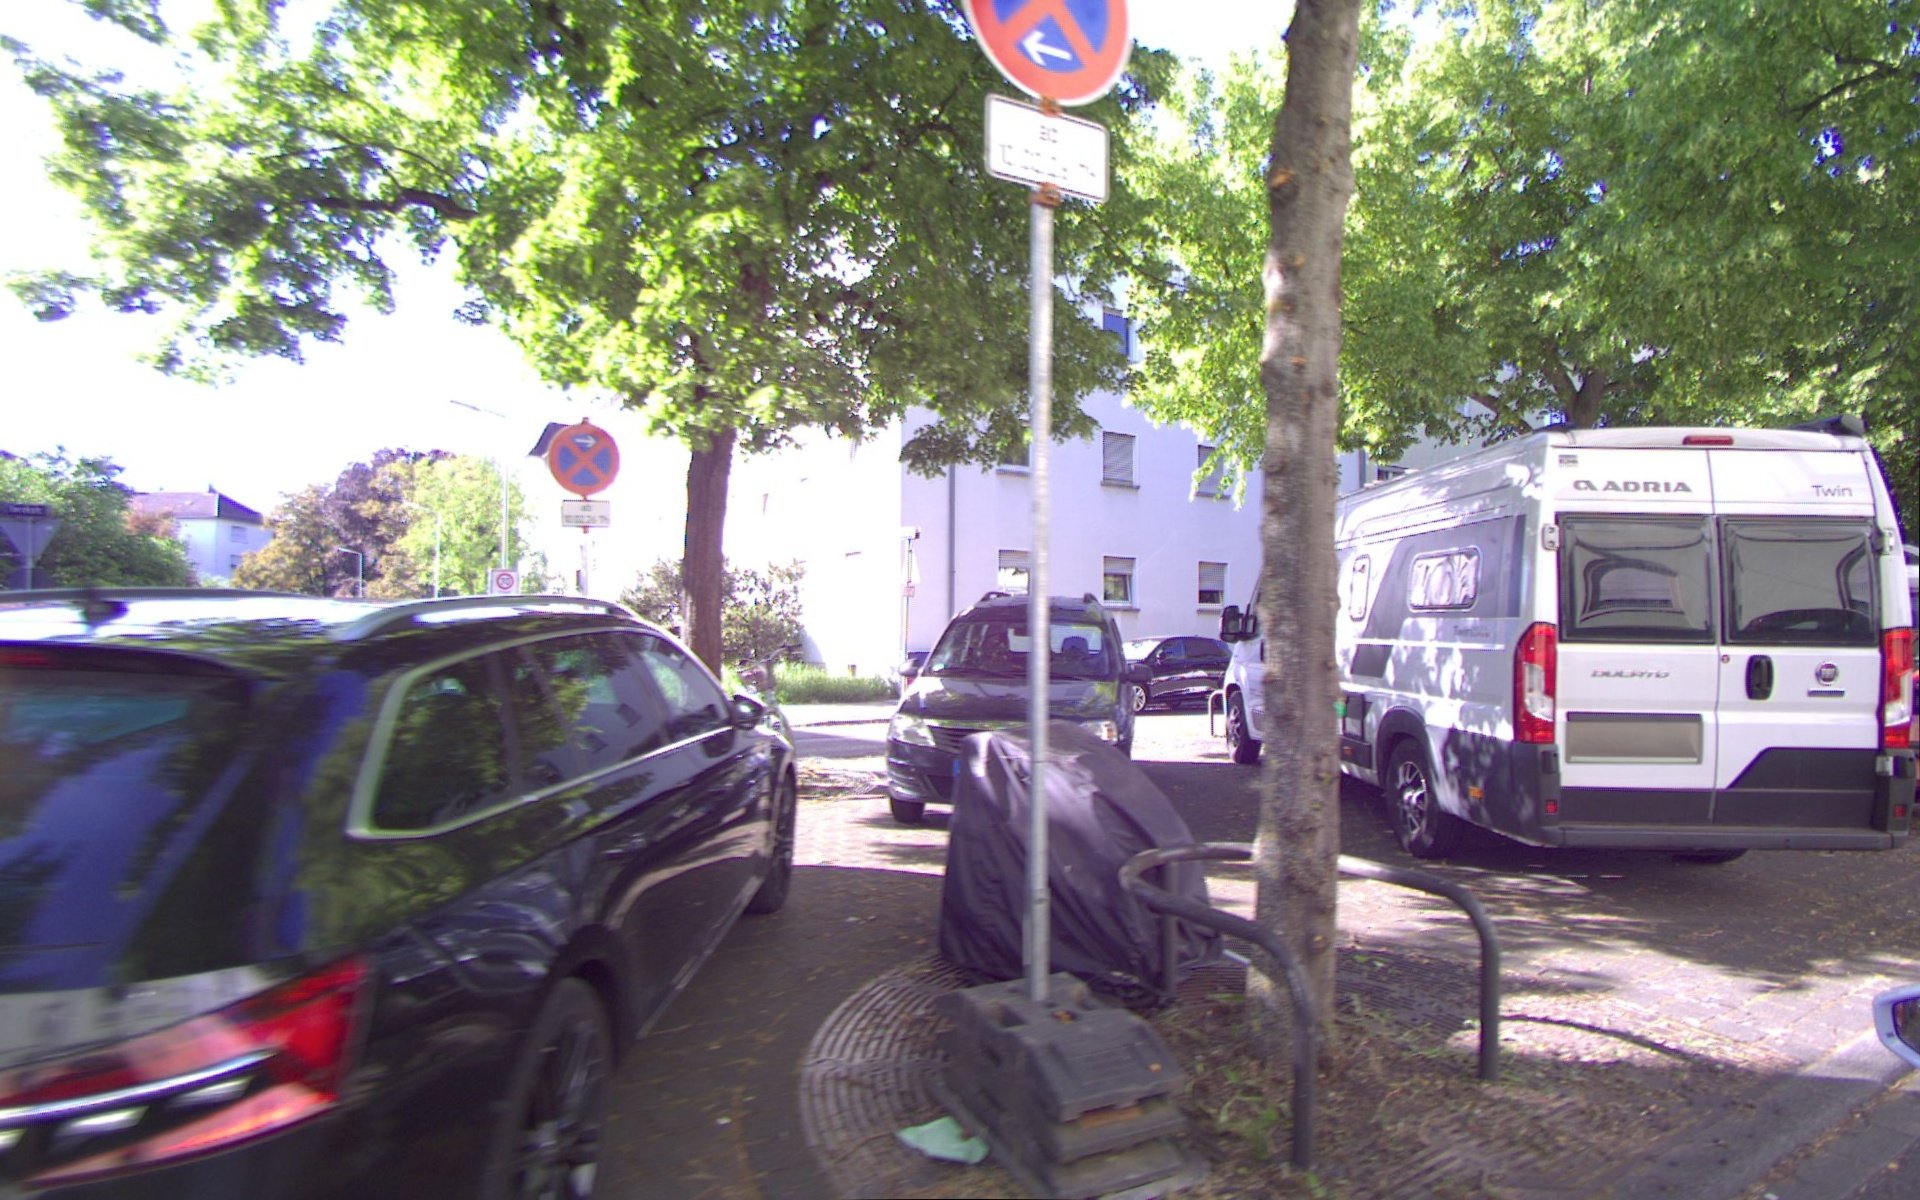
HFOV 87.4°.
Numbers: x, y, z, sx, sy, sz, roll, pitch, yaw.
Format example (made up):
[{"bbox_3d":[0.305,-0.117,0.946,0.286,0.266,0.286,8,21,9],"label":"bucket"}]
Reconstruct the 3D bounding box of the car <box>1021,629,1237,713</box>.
[{"bbox_3d":[3.307,1.322,19.360,4.040,1.454,1.739,1,-4,-35],"label":"car"}]

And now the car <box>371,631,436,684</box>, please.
[{"bbox_3d":[-18.056,1.809,32.500,1.634,1.590,3.966,1,-2,-32],"label":"car"}]

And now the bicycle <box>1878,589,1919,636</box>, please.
[{"bbox_3d":[25.605,0.343,26.958,1.768,1.216,0.356,1,0,-9],"label":"bicycle"}]

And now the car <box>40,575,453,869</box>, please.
[{"bbox_3d":[-4.382,0.663,6.632,1.223,1.472,2.948,1,-2,-15],"label":"car"}]

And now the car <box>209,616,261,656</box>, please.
[{"bbox_3d":[-29.415,1.488,40.804,1.589,1.546,3.829,1,-3,-35],"label":"car"}]

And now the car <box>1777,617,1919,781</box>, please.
[{"bbox_3d":[10.703,1.019,10.825,1.631,1.639,3.882,-1,-2,18],"label":"car"}]

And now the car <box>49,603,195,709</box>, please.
[{"bbox_3d":[-17.987,1.199,21.774,1.980,2.052,4.320,1,-3,-35],"label":"car"}]

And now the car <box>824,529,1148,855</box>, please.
[{"bbox_3d":[0.537,0.619,8.343,1.959,1.940,4.388,0,-2,11],"label":"car"}]

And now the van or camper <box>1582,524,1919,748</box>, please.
[{"bbox_3d":[13.220,0.509,16.074,2.361,2.862,6.304,1,-1,-3],"label":"van or camper"}]

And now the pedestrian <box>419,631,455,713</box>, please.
[{"bbox_3d":[-10.793,1.480,20.722,0.552,1.661,0.484,2,-3,-41],"label":"pedestrian"}]

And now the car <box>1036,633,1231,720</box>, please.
[{"bbox_3d":[3.443,1.445,19.677,3.730,1.538,1.694,2,-4,-37],"label":"car"}]

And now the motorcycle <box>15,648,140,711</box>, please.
[{"bbox_3d":[-16.349,1.470,18.624,1.776,1.151,0.479,1,-1,-5],"label":"motorcycle"}]

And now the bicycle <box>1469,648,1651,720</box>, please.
[{"bbox_3d":[9.533,1.302,16.062,0.628,0.992,2.417,2,-1,-44],"label":"bicycle"}]

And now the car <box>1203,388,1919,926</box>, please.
[{"bbox_3d":[3.870,0.342,8.102,2.292,2.592,6.329,1,-1,0],"label":"car"}]

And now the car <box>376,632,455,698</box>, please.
[{"bbox_3d":[-13.946,1.585,25.642,1.634,1.538,3.968,1,-2,-31],"label":"car"}]

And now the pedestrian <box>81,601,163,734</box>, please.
[{"bbox_3d":[-11.952,0.956,14.347,0.658,1.847,0.582,1,-1,-11],"label":"pedestrian"}]

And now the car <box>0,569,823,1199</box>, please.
[{"bbox_3d":[-1.485,0.692,3.088,1.668,1.546,4.099,0,2,-2],"label":"car"}]

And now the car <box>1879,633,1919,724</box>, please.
[{"bbox_3d":[16.137,1.231,14.647,1.681,1.444,4.158,1,-2,0],"label":"car"}]

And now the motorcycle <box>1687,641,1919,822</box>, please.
[{"bbox_3d":[7.434,1.027,8.182,0.961,1.352,2.299,2,-2,-41],"label":"motorcycle"}]

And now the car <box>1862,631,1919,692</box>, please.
[{"bbox_3d":[23.366,1.454,22.967,1.782,1.409,4.200,1,-1,2],"label":"car"}]
